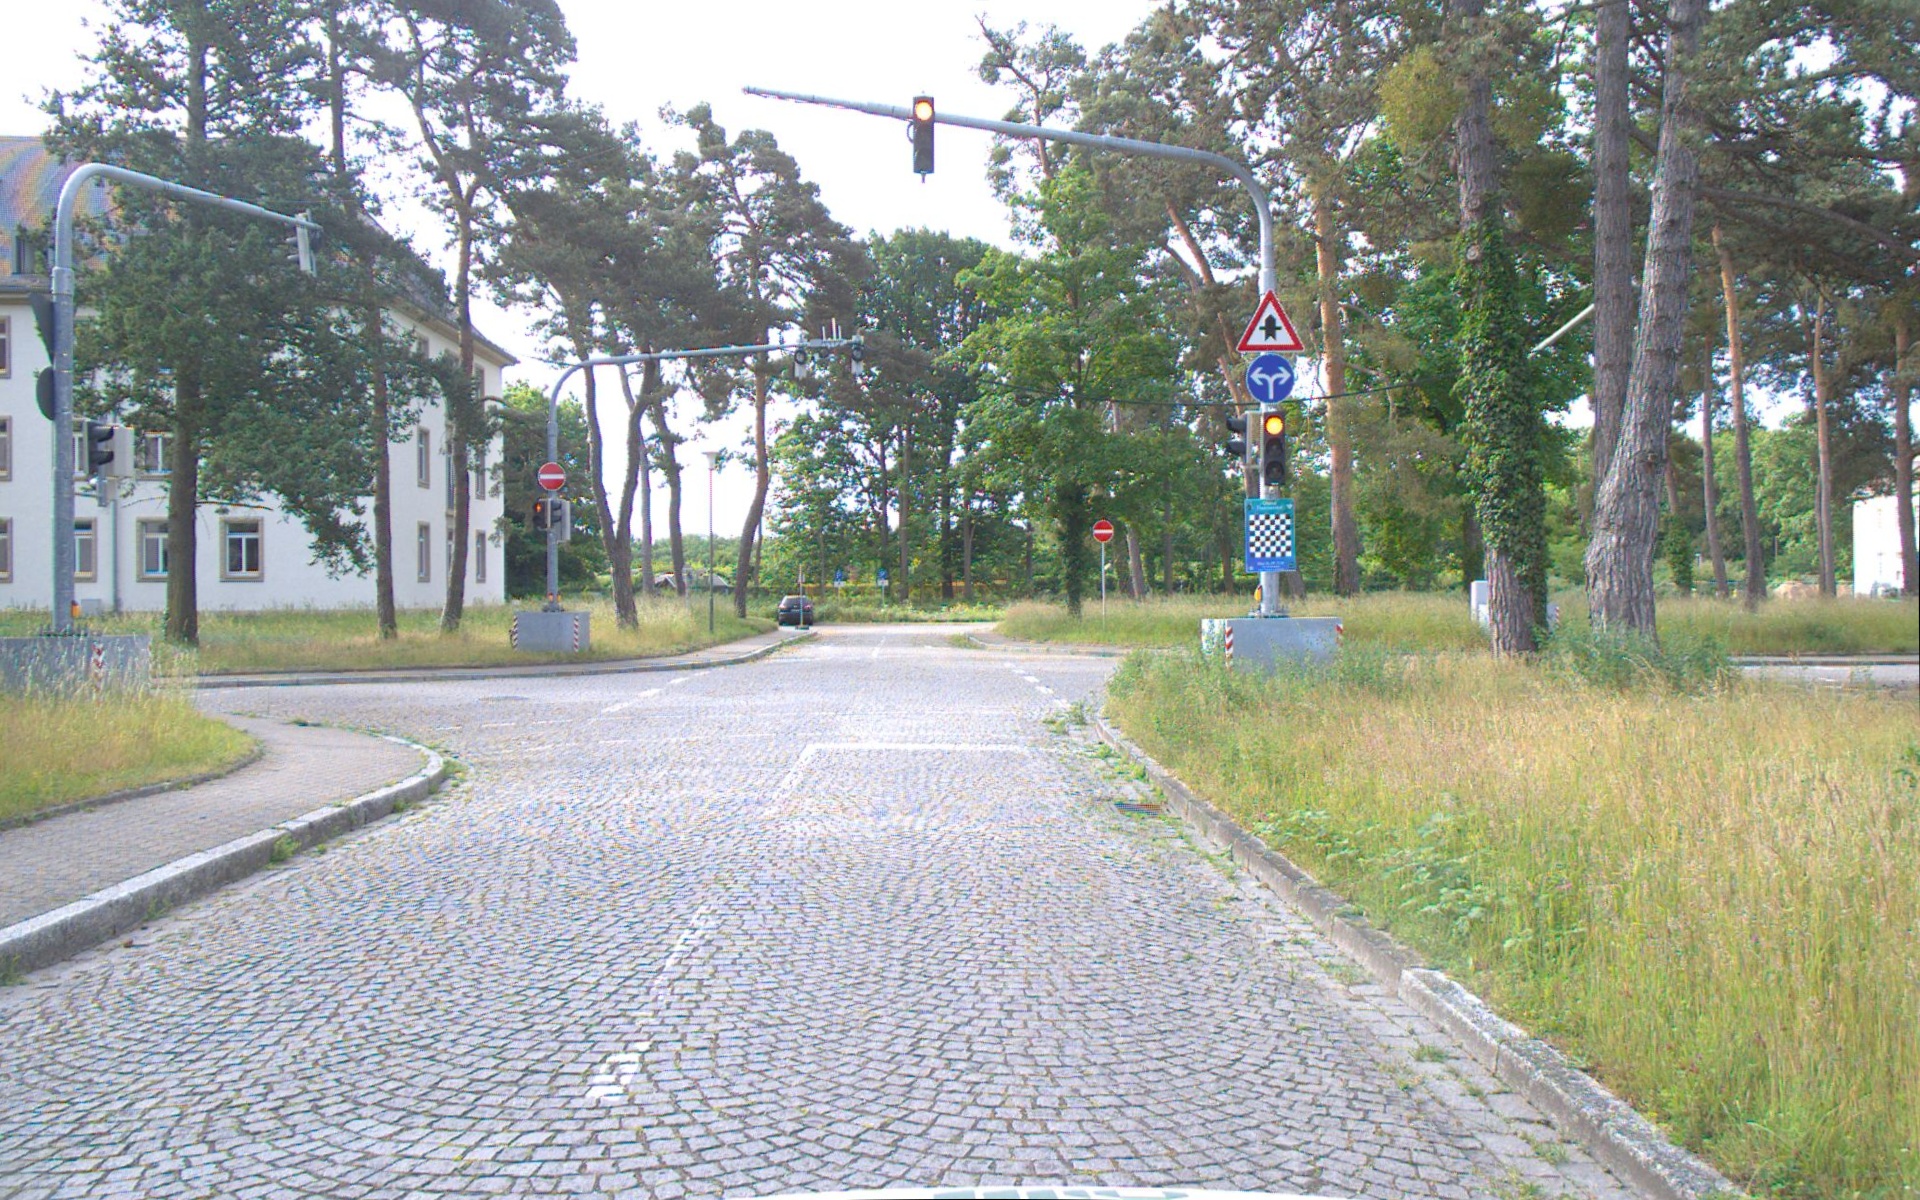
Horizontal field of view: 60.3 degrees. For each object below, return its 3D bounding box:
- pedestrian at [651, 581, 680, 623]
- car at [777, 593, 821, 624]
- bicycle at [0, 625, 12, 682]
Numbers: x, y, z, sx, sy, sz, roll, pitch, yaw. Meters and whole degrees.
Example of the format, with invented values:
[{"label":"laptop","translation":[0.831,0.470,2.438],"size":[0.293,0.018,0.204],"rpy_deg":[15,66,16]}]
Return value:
[{"label":"pedestrian","translation":[-13.913,0.094,78.113],"size":[1.186,1.923,0.747],"rpy_deg":[-1,0,0]},{"label":"car","translation":[-8.443,0.434,87.191],"size":[1.953,1.534,3.999],"rpy_deg":[1,0,-1]},{"label":"bicycle","translation":[-17.766,0.960,29.502],"size":[1.429,1.013,0.452],"rpy_deg":[-1,0,-1]}]
